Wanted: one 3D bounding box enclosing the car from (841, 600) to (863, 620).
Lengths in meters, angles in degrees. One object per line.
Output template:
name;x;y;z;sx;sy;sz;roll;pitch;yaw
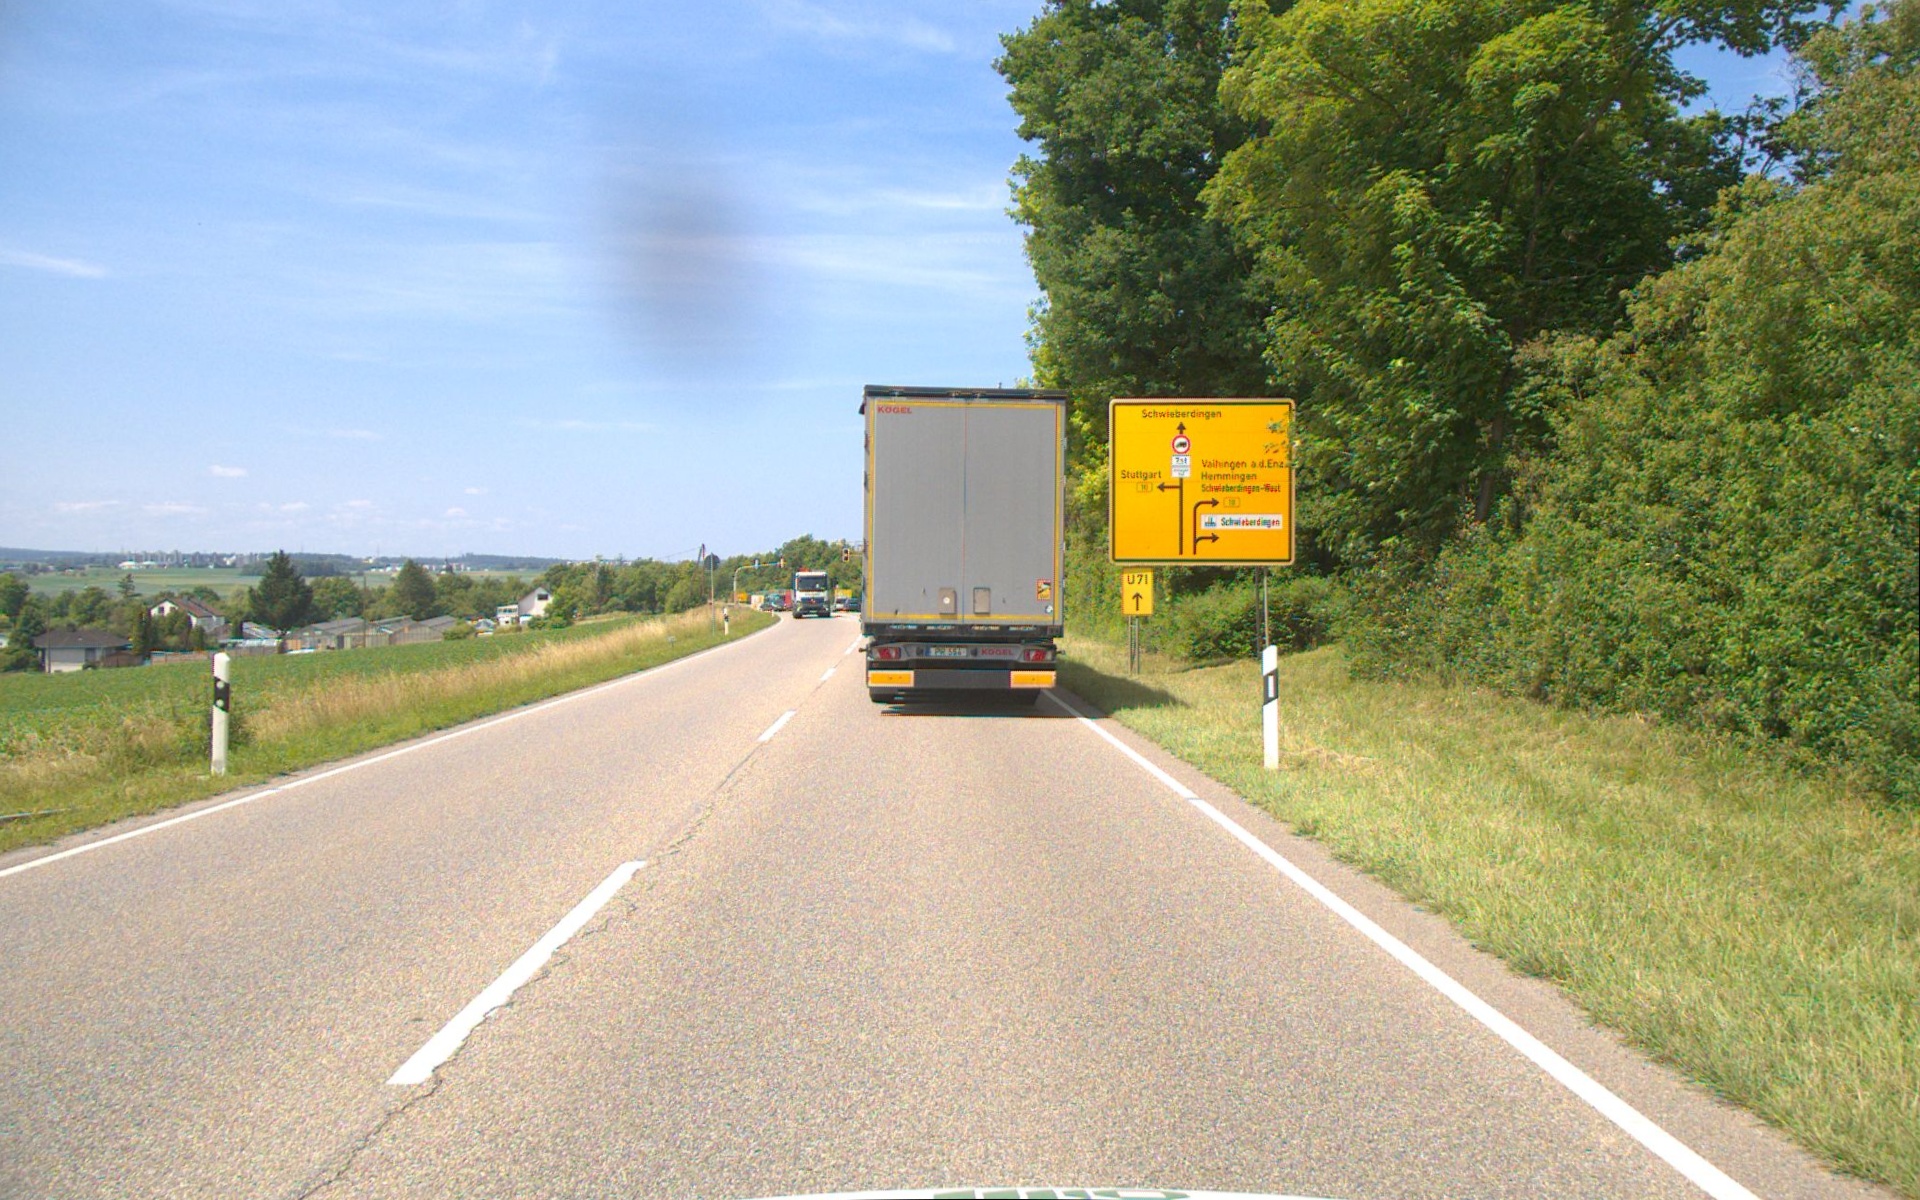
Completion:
car;-11.879;1.053;181.440;2.130;2.049;4.520;-2;0;-7

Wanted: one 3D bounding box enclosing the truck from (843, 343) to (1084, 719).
truck;-0.245;-0.836;24.296;2.850;4.487;8.853;1;0;-4

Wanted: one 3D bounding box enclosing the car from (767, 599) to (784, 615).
car;-23.891;0.938;214.095;1.956;1.984;4.494;-2;0;-8

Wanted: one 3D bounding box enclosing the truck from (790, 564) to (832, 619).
truck;-10.601;-0.539;118.435;2.702;3.638;11.054;-2;0;-4

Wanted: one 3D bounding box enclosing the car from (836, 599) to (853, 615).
car;-13.738;0.854;196.489;1.856;1.808;4.380;-2;0;-7
